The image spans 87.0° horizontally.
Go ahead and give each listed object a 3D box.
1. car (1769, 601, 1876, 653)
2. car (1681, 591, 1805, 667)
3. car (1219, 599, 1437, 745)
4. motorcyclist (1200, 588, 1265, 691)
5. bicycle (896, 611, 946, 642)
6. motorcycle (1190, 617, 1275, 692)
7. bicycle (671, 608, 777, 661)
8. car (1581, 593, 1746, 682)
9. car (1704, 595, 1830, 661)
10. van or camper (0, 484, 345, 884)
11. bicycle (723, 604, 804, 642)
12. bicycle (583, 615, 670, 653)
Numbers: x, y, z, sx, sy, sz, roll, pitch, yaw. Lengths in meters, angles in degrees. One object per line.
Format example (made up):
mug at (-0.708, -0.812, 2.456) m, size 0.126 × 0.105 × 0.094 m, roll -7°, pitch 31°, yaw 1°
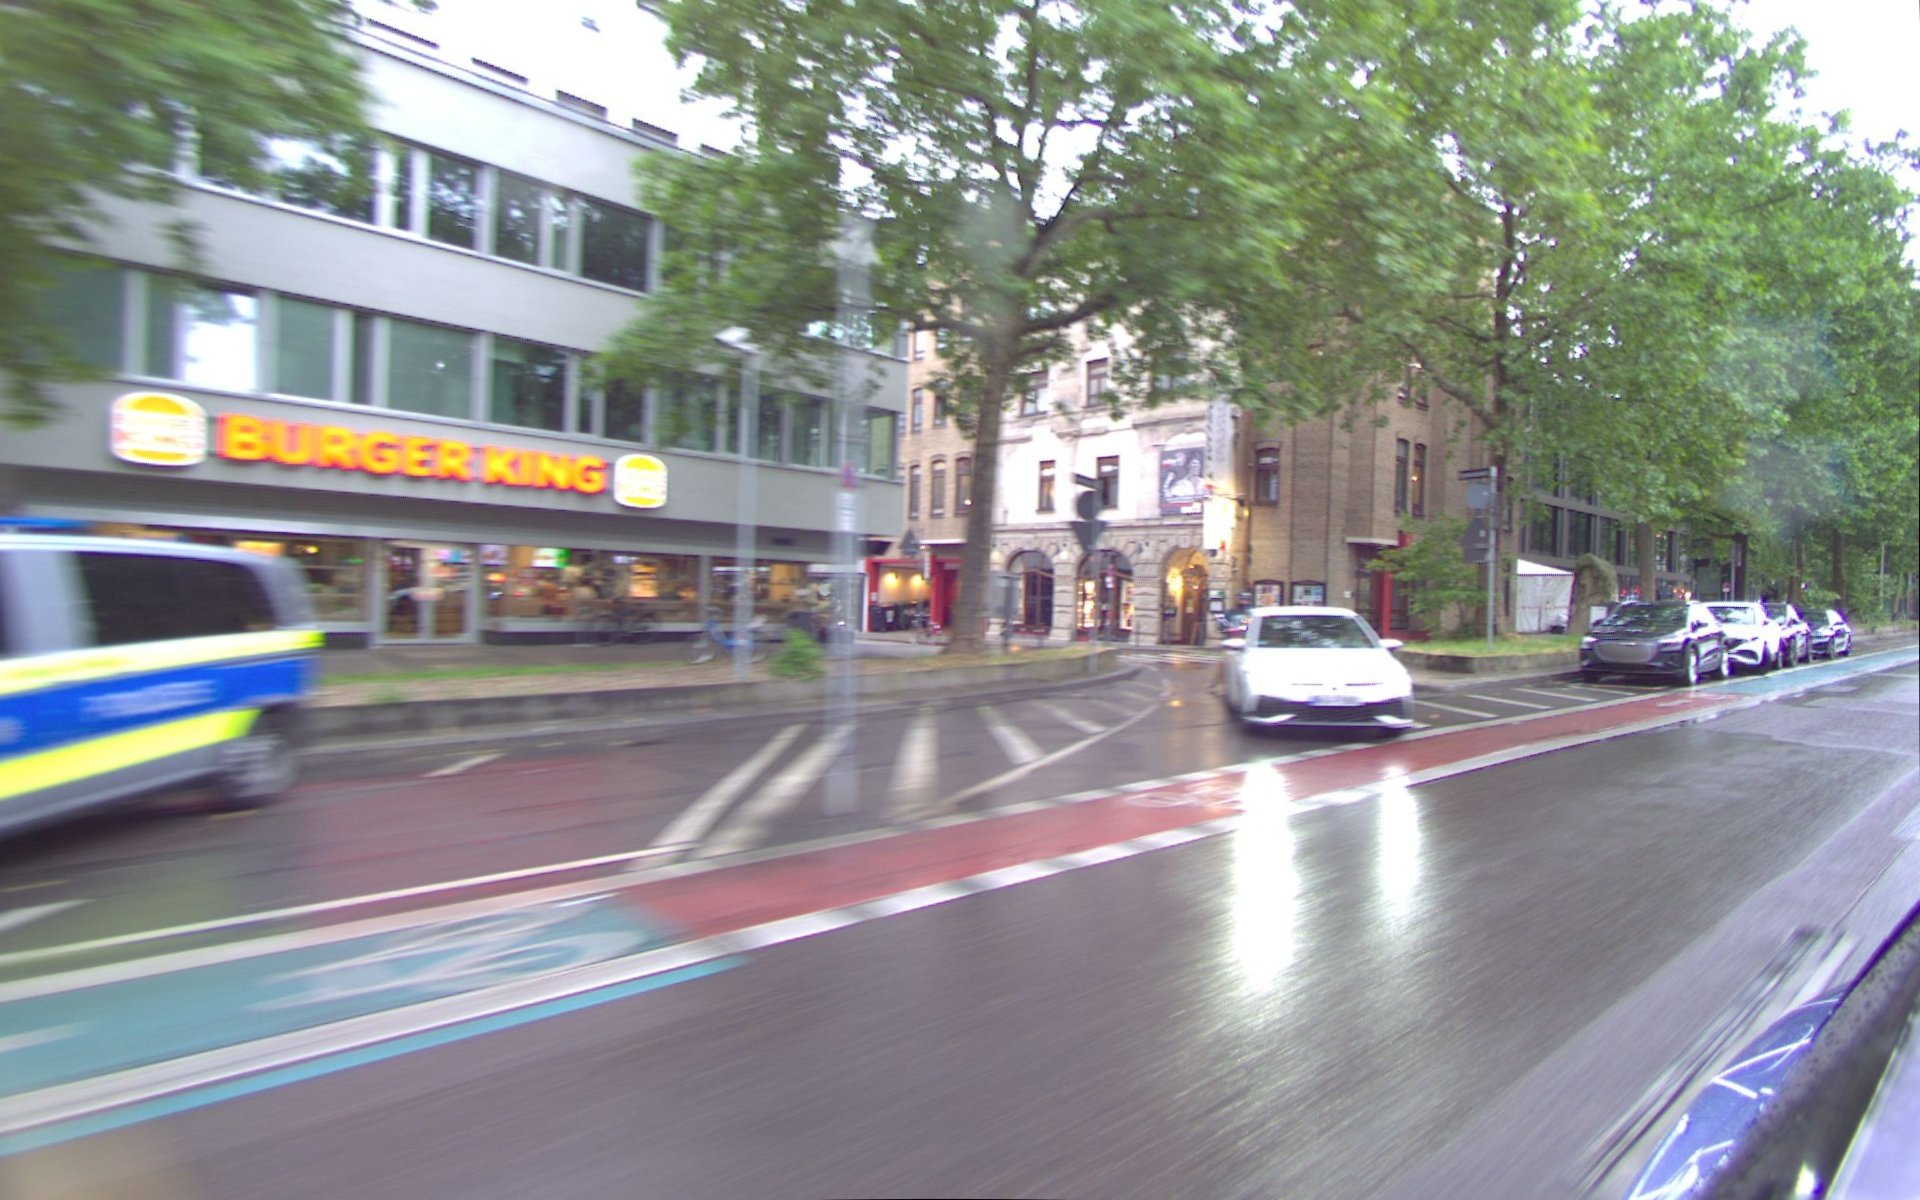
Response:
car at (25.900, 0.751, 30.346) m, size 4.505 × 1.451 × 1.746 m, roll 0°, pitch 0°, yaw -40°
car at (18.291, 0.623, 23.570) m, size 4.338 × 1.605 × 1.752 m, roll 0°, pitch 0°, yaw -45°
car at (4.327, 0.725, 12.611) m, size 1.838 × 1.463 × 4.494 m, roll 0°, pitch 0°, yaw 11°
motorcyclist at (4.612, 0.642, 17.110) m, size 0.842 × 1.665 × 0.861 m, roll 0°, pitch 0°, yaw 32°
bicycle at (-1.275, 0.841, 32.830) m, size 0.613 × 0.949 × 1.972 m, roll 0°, pitch 0°, yaw -36°
motorcycle at (4.634, 0.881, 17.135) m, size 0.862 × 1.157 × 1.999 m, roll 0°, pitch 0°, yaw 32°
bicycle at (-4.490, 0.640, 19.343) m, size 1.880 × 0.934 × 0.642 m, roll 0°, pitch 0°, yaw -41°
car at (14.313, 0.678, 20.498) m, size 4.348 × 1.623 × 1.795 m, roll 0°, pitch -1°, yaw -42°
car at (21.534, 0.690, 26.940) m, size 4.483 × 1.609 × 1.996 m, roll 0°, pitch 0°, yaw -43°
van or camper at (-5.849, 0.429, 5.673) m, size 1.963 × 2.017 × 4.949 m, roll 0°, pitch 0°, yaw -2°
bicycle at (-4.994, 0.575, 25.843) m, size 2.042 × 0.907 × 0.583 m, roll 0°, pitch 0°, yaw -44°
bicycle at (-7.728, 0.774, 23.519) m, size 0.640 × 0.829 × 1.885 m, roll 1°, pitch 0°, yaw 41°
